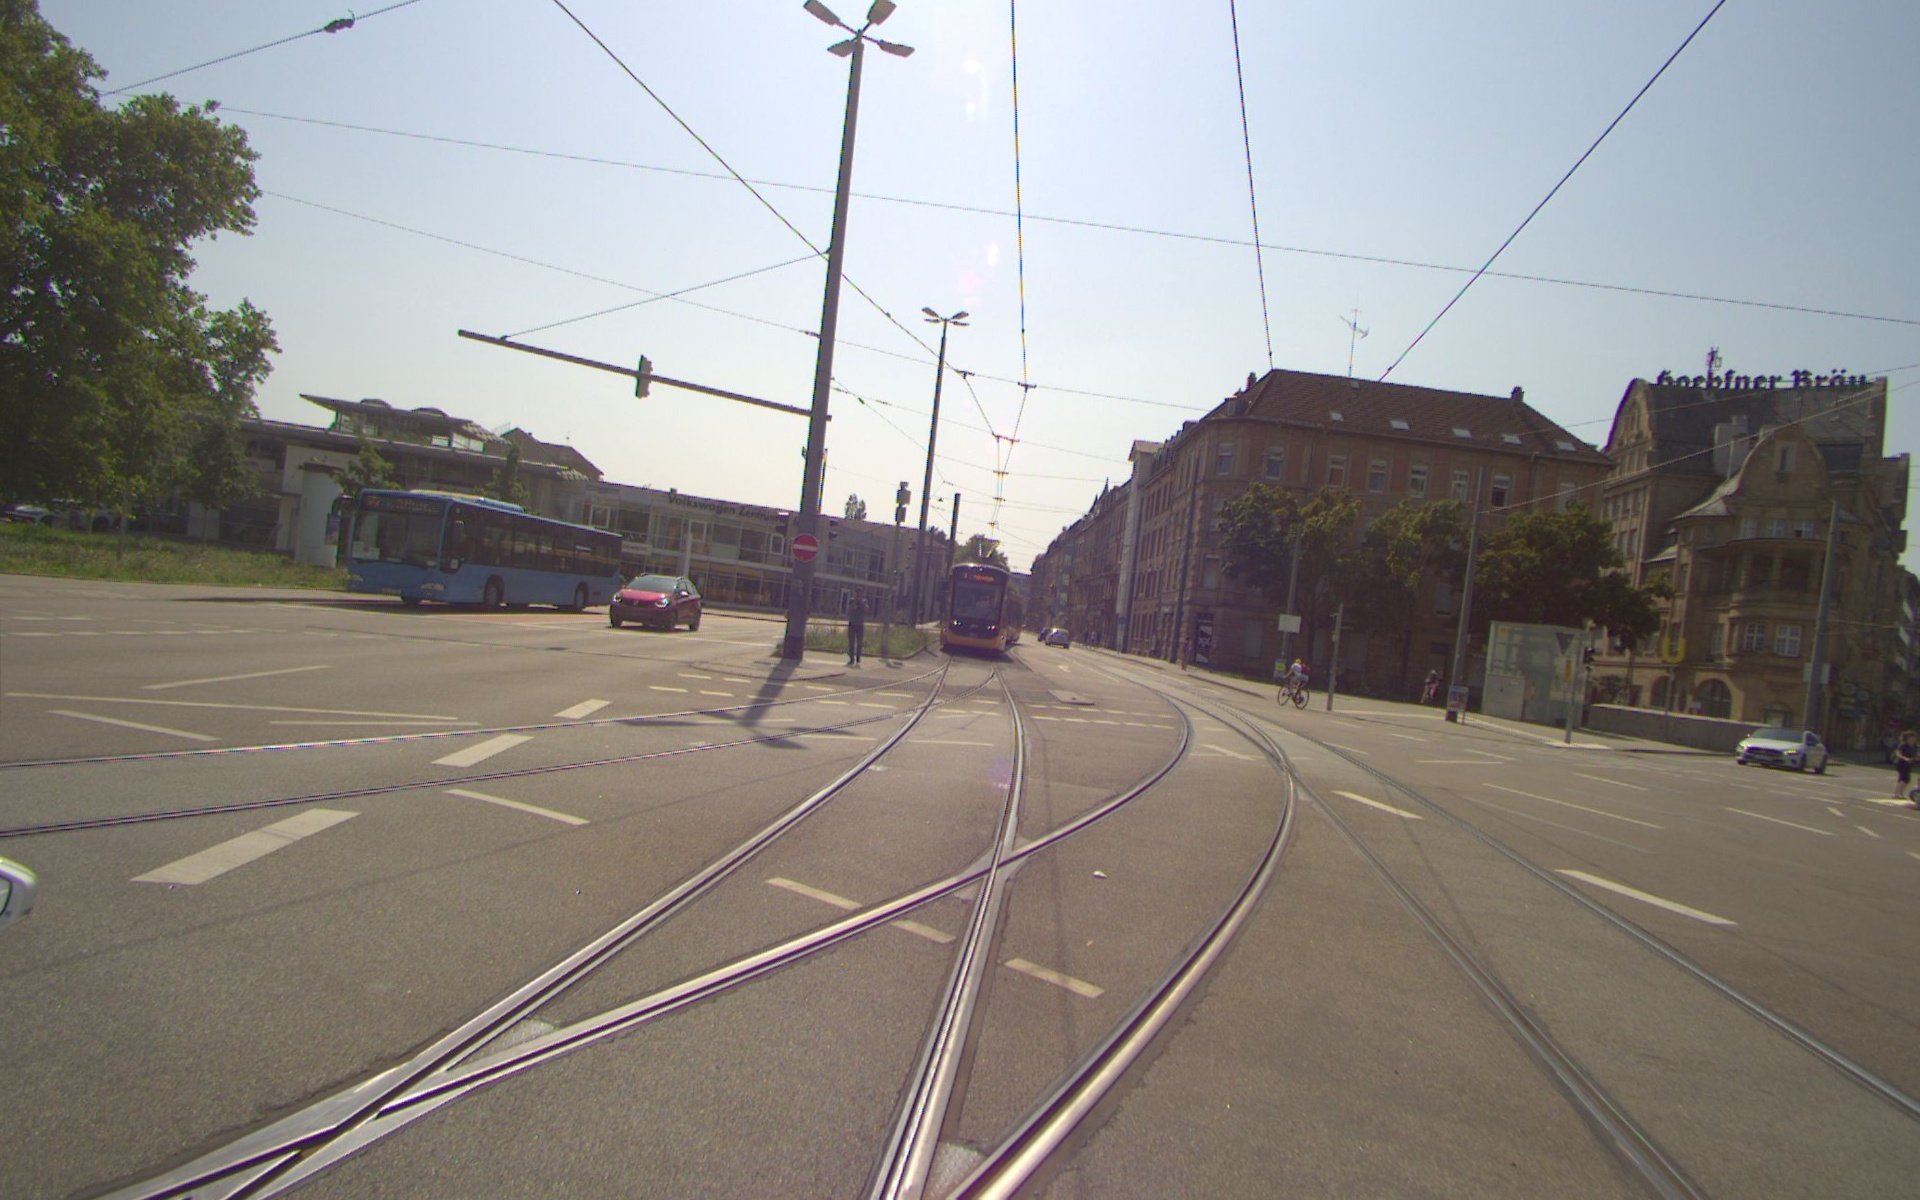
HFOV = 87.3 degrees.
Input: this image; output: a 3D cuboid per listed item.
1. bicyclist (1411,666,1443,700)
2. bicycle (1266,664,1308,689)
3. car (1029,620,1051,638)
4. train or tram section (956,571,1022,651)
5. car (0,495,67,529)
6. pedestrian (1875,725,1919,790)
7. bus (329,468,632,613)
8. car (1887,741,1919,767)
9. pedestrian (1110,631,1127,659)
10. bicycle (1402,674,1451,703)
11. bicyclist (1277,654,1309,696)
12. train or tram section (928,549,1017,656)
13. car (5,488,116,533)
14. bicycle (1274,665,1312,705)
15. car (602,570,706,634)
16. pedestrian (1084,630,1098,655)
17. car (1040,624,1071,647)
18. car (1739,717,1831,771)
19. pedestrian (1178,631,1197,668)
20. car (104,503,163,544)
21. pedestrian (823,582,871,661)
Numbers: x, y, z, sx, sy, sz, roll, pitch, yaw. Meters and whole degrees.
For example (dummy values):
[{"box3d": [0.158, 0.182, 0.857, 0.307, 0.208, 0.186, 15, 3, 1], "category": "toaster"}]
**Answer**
[{"box3d": [20.733, 3.669, 44.666, 0.737, 1.336, 0.920, 7, 0, -9], "category": "bicyclist"}, {"box3d": [15.630, 3.642, 48.086, 1.757, 0.969, 0.461, 7, 0, -5], "category": "bicycle"}, {"box3d": [7.801, 2.856, 98.524, 1.487, 1.529, 3.623, 7, -1, -2], "category": "car"}, {"box3d": [1.768, 0.690, 54.947, 2.546, 3.603, 12.223, 7, -1, 5], "category": "train or tram section"}, {"box3d": [-54.332, -5.172, 58.046, 1.963, 1.526, 3.999, 7, -1, -1], "category": "car"}, {"box3d": [21.871, 3.637, 23.186, 0.710, 1.368, 0.812, 7, 0, -24], "category": "pedestrian"}, {"box3d": [-13.731, -1.381, 30.668, 2.683, 3.101, 12.087, 7, -1, 3], "category": "bus"}, {"box3d": [61.383, 10.022, 65.477, 1.357, 1.414, 3.241, 7, -2, 44], "category": "car"}, {"box3d": [12.083, 3.431, 76.918, 0.827, 2.037, 0.809, 8, -1, -7], "category": "pedestrian"}, {"box3d": [20.688, 3.915, 44.666, 0.635, 1.010, 2.372, 7, 0, -9], "category": "bicycle"}, {"box3d": [10.871, 2.445, 32.882, 0.647, 1.269, 0.643, 7, 0, -9], "category": "bicyclist"}, {"box3d": [0.785, 0.214, 42.771, 2.546, 3.603, 12.223, 7, -1, 5], "category": "train or tram section"}, {"box3d": [-50.358, -4.978, 56.447, 1.684, 1.774, 4.261, 7, -1, 18], "category": "car"}, {"box3d": [10.939, 2.776, 33.101, 0.433, 1.125, 1.641, 7, 0, -6], "category": "bicycle"}, {"box3d": [-8.579, 0.081, 28.524, 1.600, 1.489, 3.772, 7, -1, 1], "category": "car"}, {"box3d": [11.649, 3.776, 89.351, 0.780, 2.037, 0.809, 8, -1, -7], "category": "pedestrian"}, {"box3d": [7.614, 2.821, 80.480, 1.707, 1.592, 3.612, 9, -2, -3], "category": "car"}, {"box3d": [28.495, 4.994, 34.713, 3.702, 1.301, 1.573, 13, -5, -37], "category": "car"}, {"box3d": [12.878, 2.790, 57.044, 0.639, 2.038, 0.703, 7, 0, -3], "category": "pedestrian"}, {"box3d": [-51.610, -4.791, 62.953, 2.316, 2.037, 6.739, 9, -2, -37], "category": "car"}, {"box3d": [-2.622, 0.495, 23.390, 0.793, 1.708, 0.716, 7, 1, -17], "category": "pedestrian"}]
